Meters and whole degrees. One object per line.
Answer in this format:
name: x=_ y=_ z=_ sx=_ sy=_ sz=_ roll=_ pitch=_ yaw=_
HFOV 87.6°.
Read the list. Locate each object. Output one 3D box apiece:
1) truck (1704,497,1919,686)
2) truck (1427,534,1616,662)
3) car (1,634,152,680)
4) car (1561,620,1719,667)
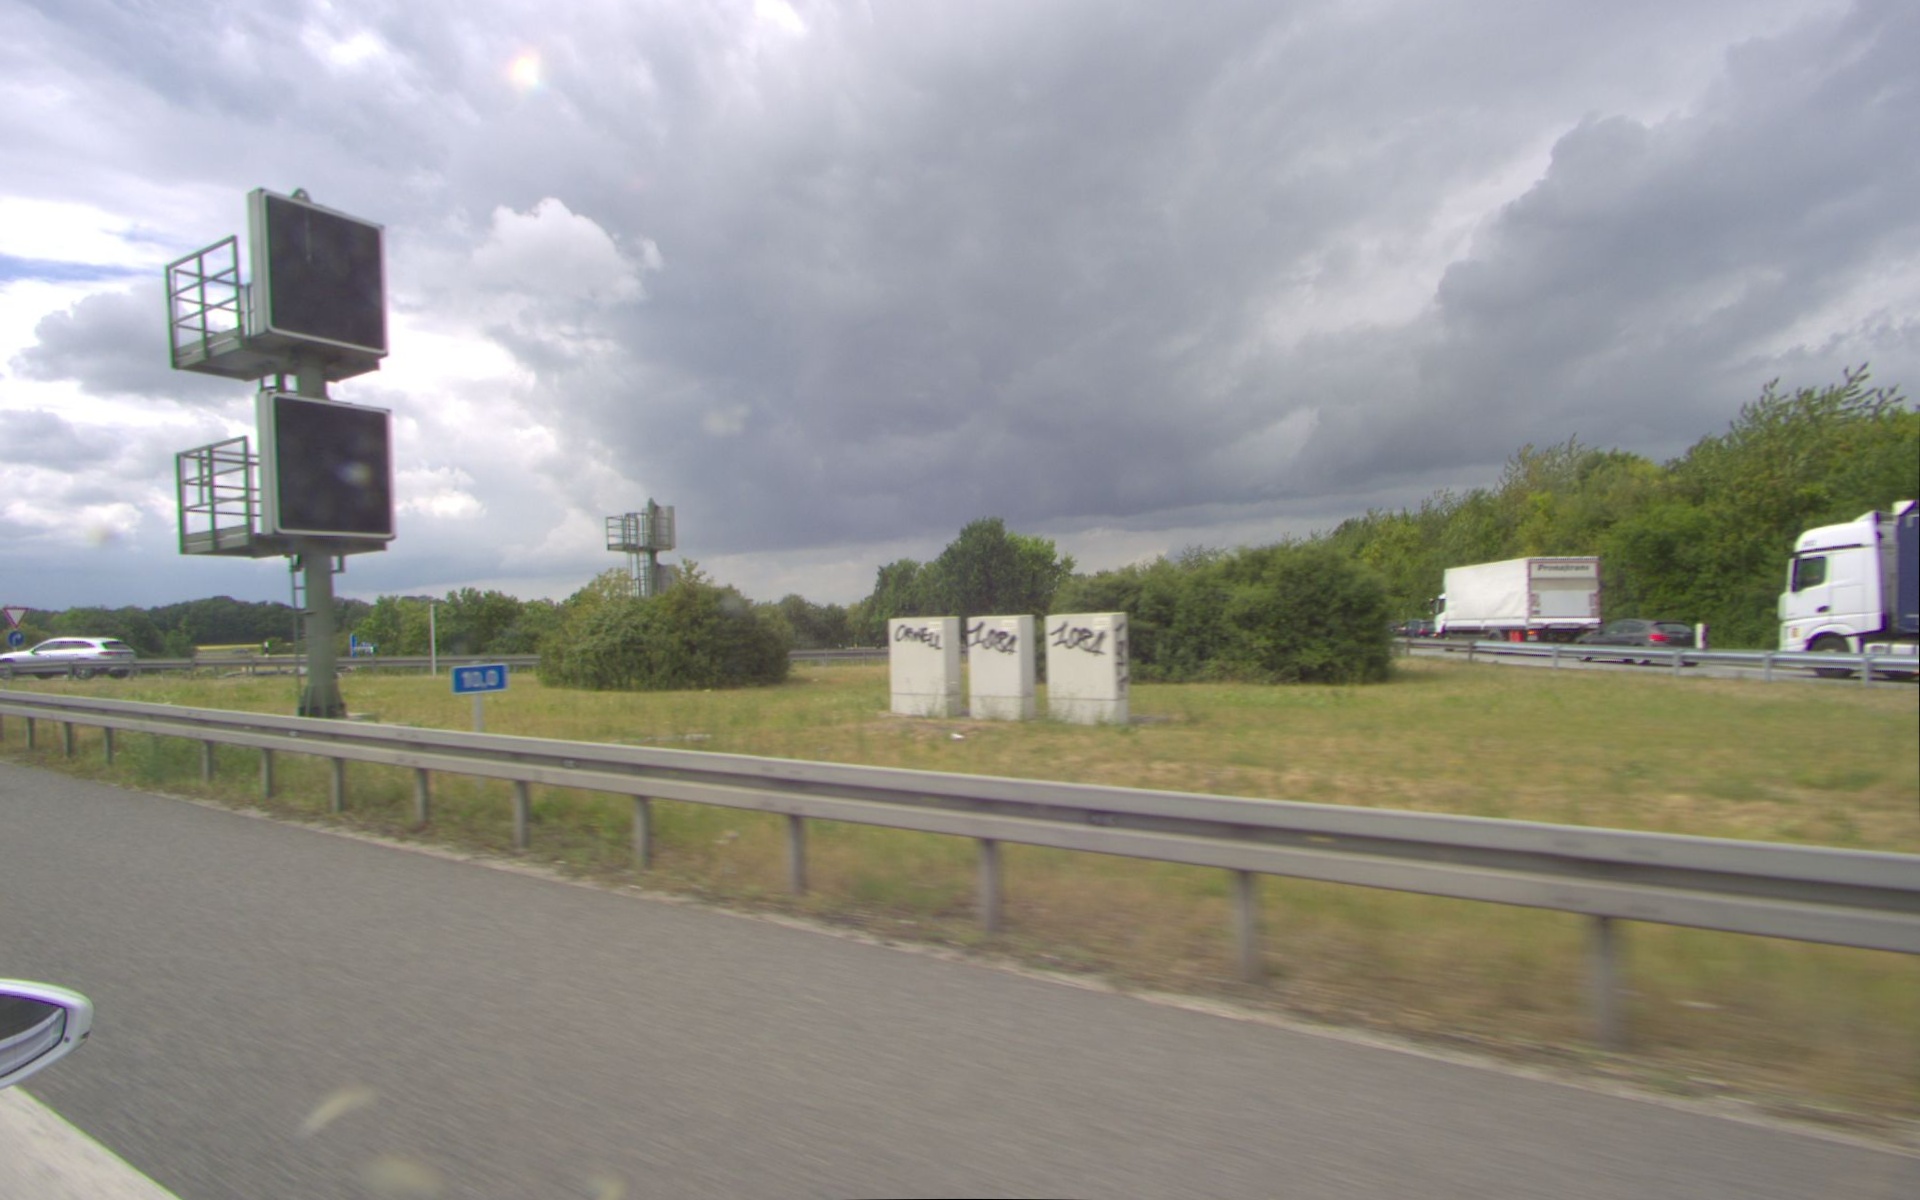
truck: x=22.310 y=-0.151 z=23.834 sx=3.310 sy=4.148 sz=6.781 roll=0 pitch=-1 yaw=-15
truck: x=22.732 y=0.093 z=41.298 sx=3.219 sy=4.674 sz=8.995 roll=0 pitch=-2 yaw=4
car: x=-35.250 y=2.250 z=40.042 sx=4.128 sy=1.706 sz=1.943 roll=-1 pitch=-2 yaw=-7
car: x=21.725 y=1.334 z=32.261 sx=1.854 sy=1.380 sz=4.788 roll=-1 pitch=-1 yaw=1
